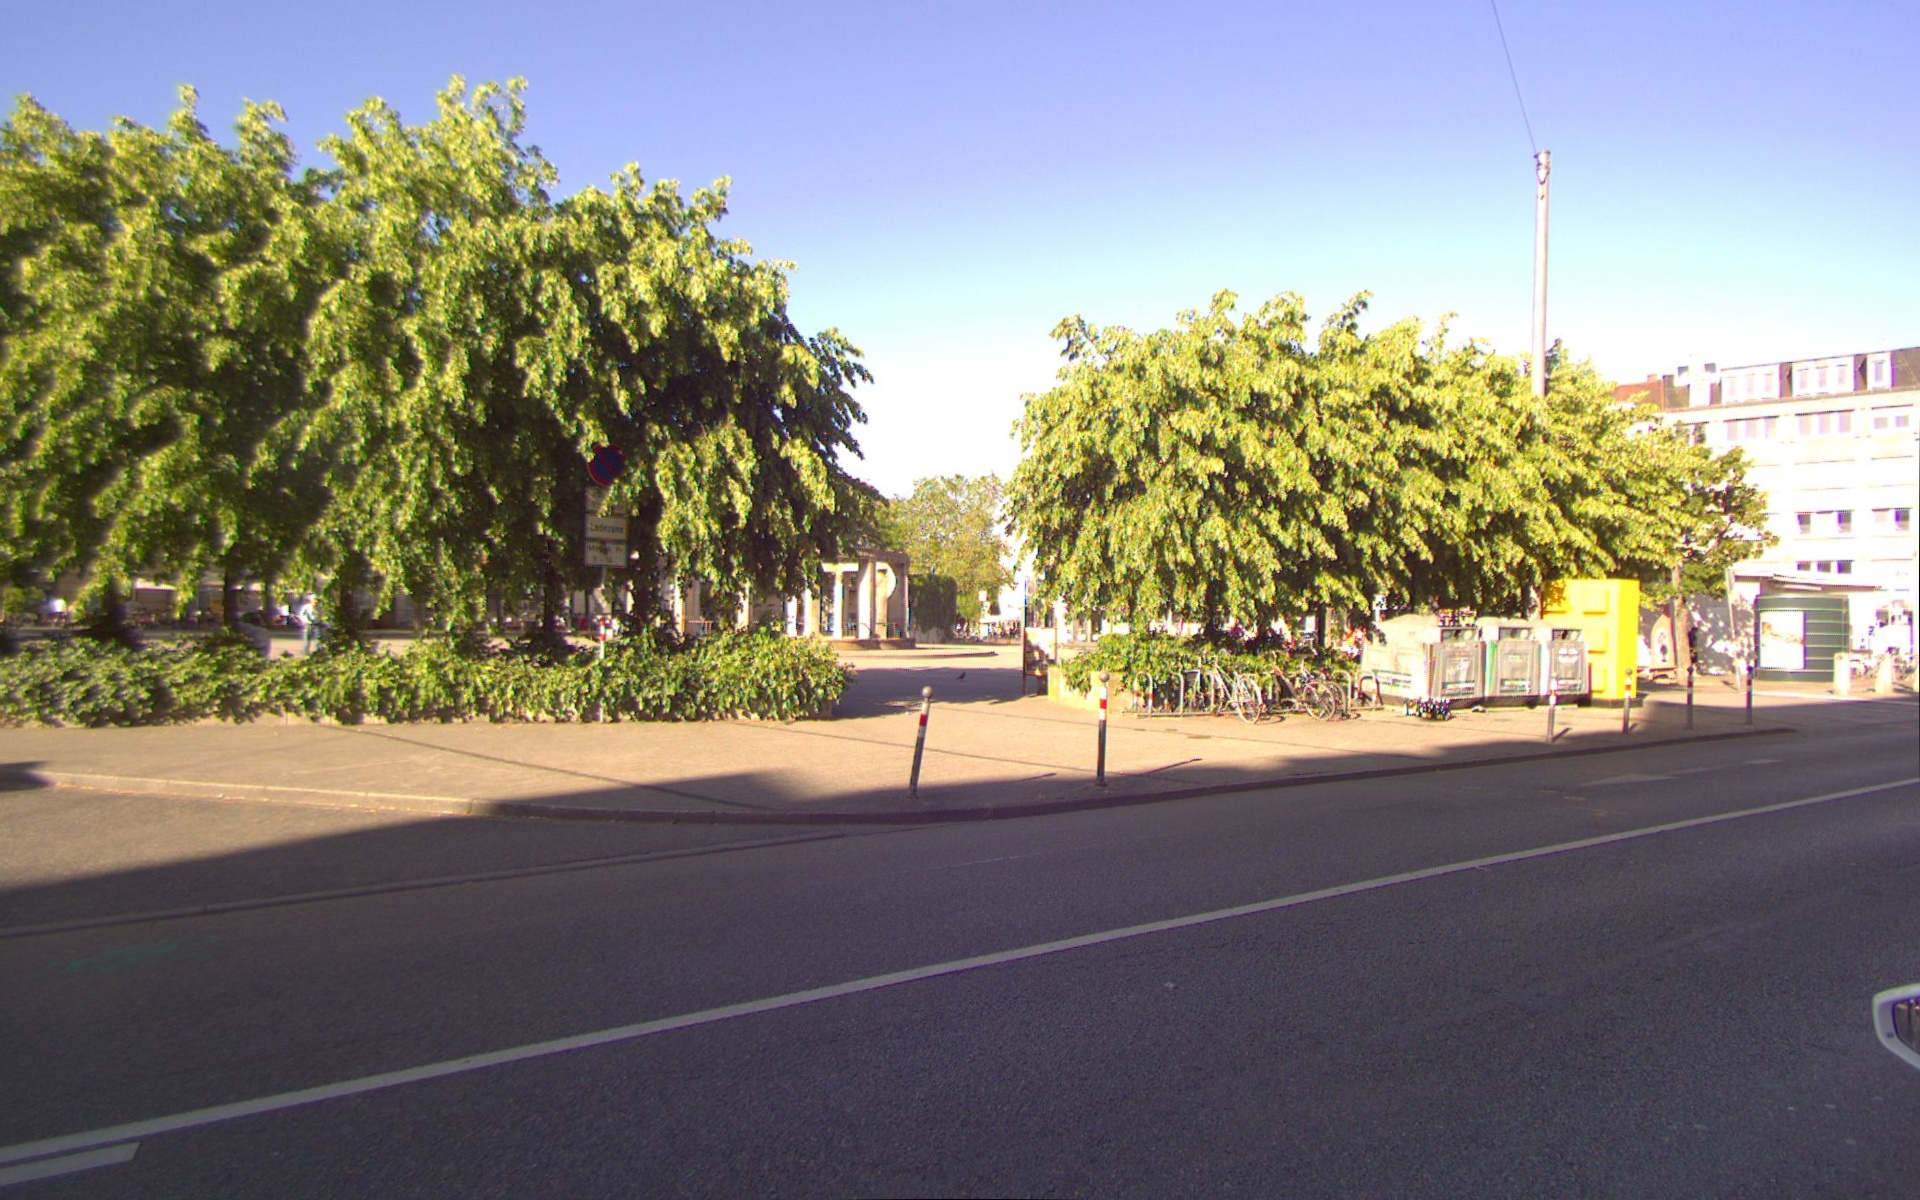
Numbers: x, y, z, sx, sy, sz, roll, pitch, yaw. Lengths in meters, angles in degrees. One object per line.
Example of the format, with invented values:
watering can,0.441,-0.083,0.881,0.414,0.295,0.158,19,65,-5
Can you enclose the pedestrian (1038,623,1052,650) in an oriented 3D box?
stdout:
pedestrian,6.457,2.763,76.426,0.860,2.040,0.902,2,0,-5

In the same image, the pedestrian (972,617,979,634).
pedestrian,1.749,2.883,114.520,0.629,1.974,0.675,2,0,-14

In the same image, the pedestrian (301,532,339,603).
pedestrian,-16.102,-0.813,25.279,0.599,1.744,0.644,2,0,41

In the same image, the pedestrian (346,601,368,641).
pedestrian,-26.751,0.915,44.561,0.599,1.744,0.644,2,0,37

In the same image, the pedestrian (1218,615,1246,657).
pedestrian,13.451,1.784,49.682,1.014,2.040,1.159,1,0,-5

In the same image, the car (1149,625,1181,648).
car,13.512,2.400,66.397,1.658,1.405,3.575,1,-1,5

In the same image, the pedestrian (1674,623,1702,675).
pedestrian,25.231,1.696,34.812,0.701,1.739,0.474,2,0,-22

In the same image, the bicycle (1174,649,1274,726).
bicycle,4.073,1.327,15.655,0.508,1.029,1.930,2,0,-19

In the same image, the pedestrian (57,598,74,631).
pedestrian,-49.174,0.796,55.205,0.600,1.744,0.643,2,0,45

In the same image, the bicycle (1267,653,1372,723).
bicycle,5.829,1.403,16.417,0.508,0.968,1.898,2,0,-20

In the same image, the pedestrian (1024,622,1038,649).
pedestrian,5.501,2.741,77.625,0.860,2.040,0.902,2,0,-5

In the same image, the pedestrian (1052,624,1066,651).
pedestrian,7.516,2.861,76.460,0.860,2.040,0.902,2,0,-5

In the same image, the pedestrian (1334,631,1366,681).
pedestrian,13.743,1.952,35.448,0.774,1.720,0.763,1,0,-6

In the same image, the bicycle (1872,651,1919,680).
bicycle,33.193,2.294,35.104,0.599,0.946,1.855,2,0,-30

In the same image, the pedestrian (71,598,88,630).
pedestrian,-48.190,0.757,54.982,0.600,1.744,0.643,2,0,45

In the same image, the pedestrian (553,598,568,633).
pedestrian,-23.058,0.895,57.992,0.669,1.974,0.634,2,0,-33

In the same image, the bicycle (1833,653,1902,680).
bicycle,30.824,2.247,34.127,0.600,0.802,1.634,2,0,-33

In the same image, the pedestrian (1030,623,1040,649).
pedestrian,5.887,2.849,79.000,0.628,1.974,0.676,2,0,-7

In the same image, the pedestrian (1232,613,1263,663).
pedestrian,11.917,1.569,41.642,0.875,2.040,0.896,1,0,-17

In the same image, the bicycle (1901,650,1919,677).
bicycle,35.106,2.335,36.042,0.599,0.946,1.854,2,0,-30

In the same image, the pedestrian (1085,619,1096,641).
pedestrian,12.947,2.954,99.435,0.860,2.199,0.902,2,0,-5

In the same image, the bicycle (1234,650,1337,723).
bicycle,5.236,1.368,16.290,0.508,1.016,1.923,2,0,-20

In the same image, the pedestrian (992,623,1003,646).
pedestrian,3.445,3.170,91.470,0.860,2.040,0.902,2,0,-5
